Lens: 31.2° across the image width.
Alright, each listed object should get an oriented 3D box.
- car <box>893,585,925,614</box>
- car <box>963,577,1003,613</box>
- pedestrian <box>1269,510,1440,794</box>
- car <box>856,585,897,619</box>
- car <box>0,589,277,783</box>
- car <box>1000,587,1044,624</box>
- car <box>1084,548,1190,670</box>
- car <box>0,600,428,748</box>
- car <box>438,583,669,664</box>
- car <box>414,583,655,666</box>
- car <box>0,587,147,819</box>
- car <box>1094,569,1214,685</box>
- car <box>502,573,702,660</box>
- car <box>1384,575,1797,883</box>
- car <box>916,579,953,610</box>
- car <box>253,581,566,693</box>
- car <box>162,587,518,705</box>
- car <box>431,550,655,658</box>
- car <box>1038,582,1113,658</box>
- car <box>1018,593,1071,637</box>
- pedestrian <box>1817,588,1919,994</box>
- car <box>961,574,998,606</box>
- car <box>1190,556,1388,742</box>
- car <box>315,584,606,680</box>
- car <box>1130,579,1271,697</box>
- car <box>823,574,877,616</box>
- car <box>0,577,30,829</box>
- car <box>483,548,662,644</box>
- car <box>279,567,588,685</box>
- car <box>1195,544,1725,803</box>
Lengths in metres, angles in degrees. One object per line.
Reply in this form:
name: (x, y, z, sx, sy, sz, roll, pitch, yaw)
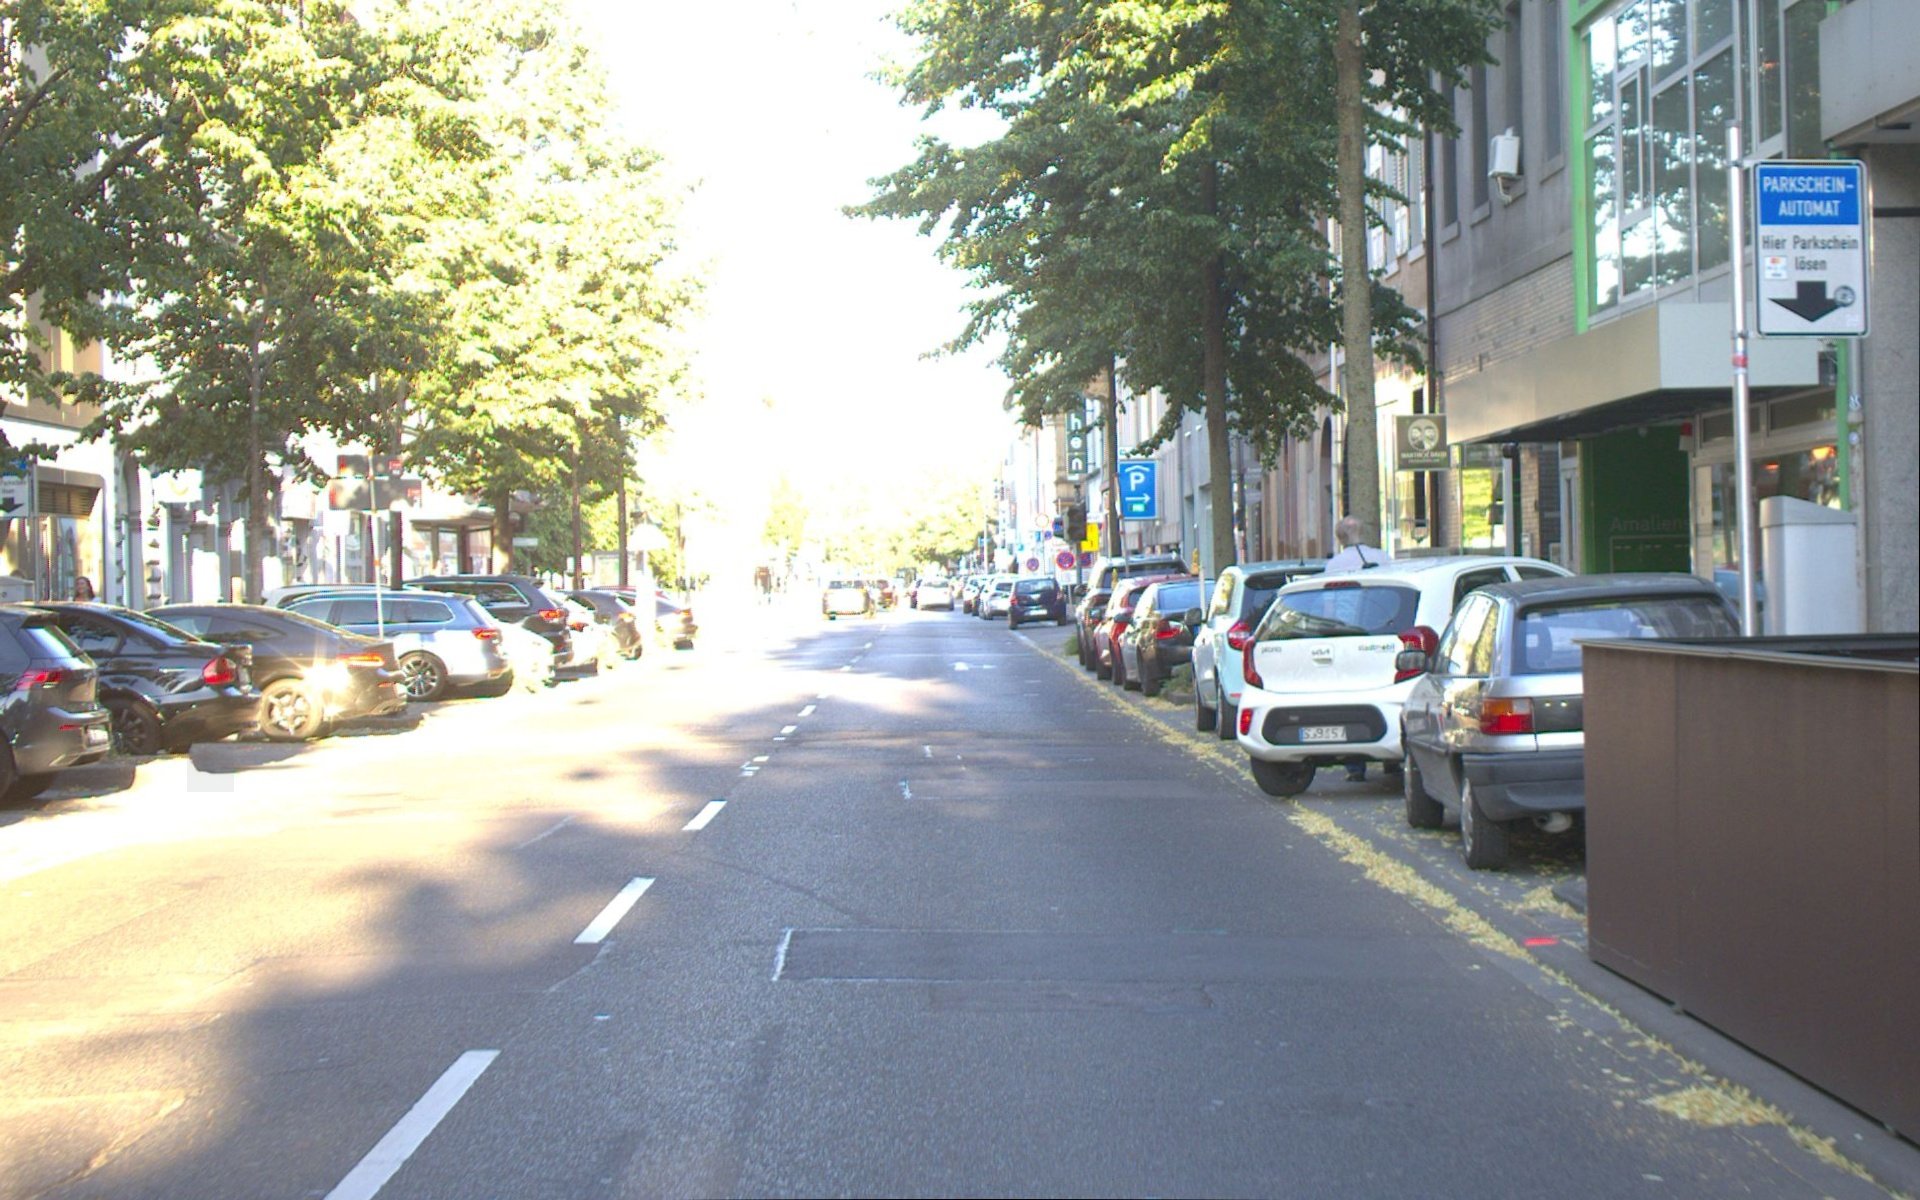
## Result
car: (-2.687, -0.046, 183.080, 1.570, 1.500, 3.303, -2, 0, 1)
car: (1.046, -0.232, 155.195, 1.752, 1.535, 3.303, -2, 0, 1)
pedestrian: (2.724, 0.348, 23.839, 0.916, 1.919, 1.018, 0, 0, -10)
car: (-3.945, 0.096, 163.073, 1.752, 1.535, 3.303, -2, 0, 1)
car: (-8.179, 0.712, 28.997, 4.442, 1.562, 1.919, -1, 0, 0)
car: (2.185, 0.194, 120.951, 1.513, 1.259, 3.303, -1, 0, 1)
car: (2.781, 0.130, 54.789, 1.513, 1.858, 4.235, -1, 0, 1)
car: (-7.875, 0.743, 35.519, 4.442, 1.444, 1.919, -1, 0, 0)
car: (-8.240, 0.470, 69.930, 4.442, 1.573, 1.919, -1, 0, 0)
car: (-8.269, 0.467, 67.107, 4.442, 1.573, 1.919, -1, 0, 0)
car: (-8.202, 0.710, 24.283, 4.442, 1.562, 1.919, -1, 0, 0)
car: (2.709, 0.361, 48.560, 1.513, 1.556, 3.514, -1, 0, 1)
car: (-8.329, 0.377, 80.252, 4.442, 1.953, 1.919, -1, 0, 0)
car: (3.195, 0.595, 18.037, 1.543, 1.428, 3.678, -1, 0, 1)
car: (-1.236, -0.283, 169.542, 1.721, 1.470, 3.303, -2, 0, 1)
car: (-8.088, 0.532, 50.792, 4.304, 1.592, 1.919, -1, 0, 0)
car: (-8.318, 0.601, 46.393, 4.442, 1.518, 1.919, -1, 0, 0)
car: (-8.736, 0.072, 72.246, 4.442, 2.192, 1.919, -1, 0, 0)
car: (2.448, 0.408, 73.350, 1.513, 1.556, 3.773, -1, 0, 1)
car: (2.519, 0.449, 102.719, 1.513, 1.271, 3.303, -1, 0, 1)
pedestrian: (3.496, 0.648, 12.132, 0.726, 1.374, 0.781, -1, 1, 0)
car: (0.825, -0.422, 143.702, 1.513, 1.294, 3.303, -1, 0, 1)
car: (2.934, 0.411, 31.119, 1.513, 1.572, 3.218, -1, 0, 1)
car: (-8.097, 0.504, 56.015, 4.442, 1.494, 1.919, -1, 0, 0)
car: (2.986, 0.451, 43.271, 1.513, 1.401, 3.837, -1, 0, 1)
car: (-4.202, -0.186, 131.921, 1.927, 1.566, 3.303, -1, 0, 0)
car: (-8.445, 0.690, 22.053, 4.442, 1.633, 1.859, -1, 0, 0)
car: (-10.158, -0.116, 90.341, 4.442, 2.426, 1.919, -1, 0, 0)
car: (-8.052, 0.388, 52.894, 4.442, 1.753, 1.919, -1, 0, 0)
car: (3.441, 0.432, 23.189, 1.674, 1.583, 3.814, 0, 1, 42)
